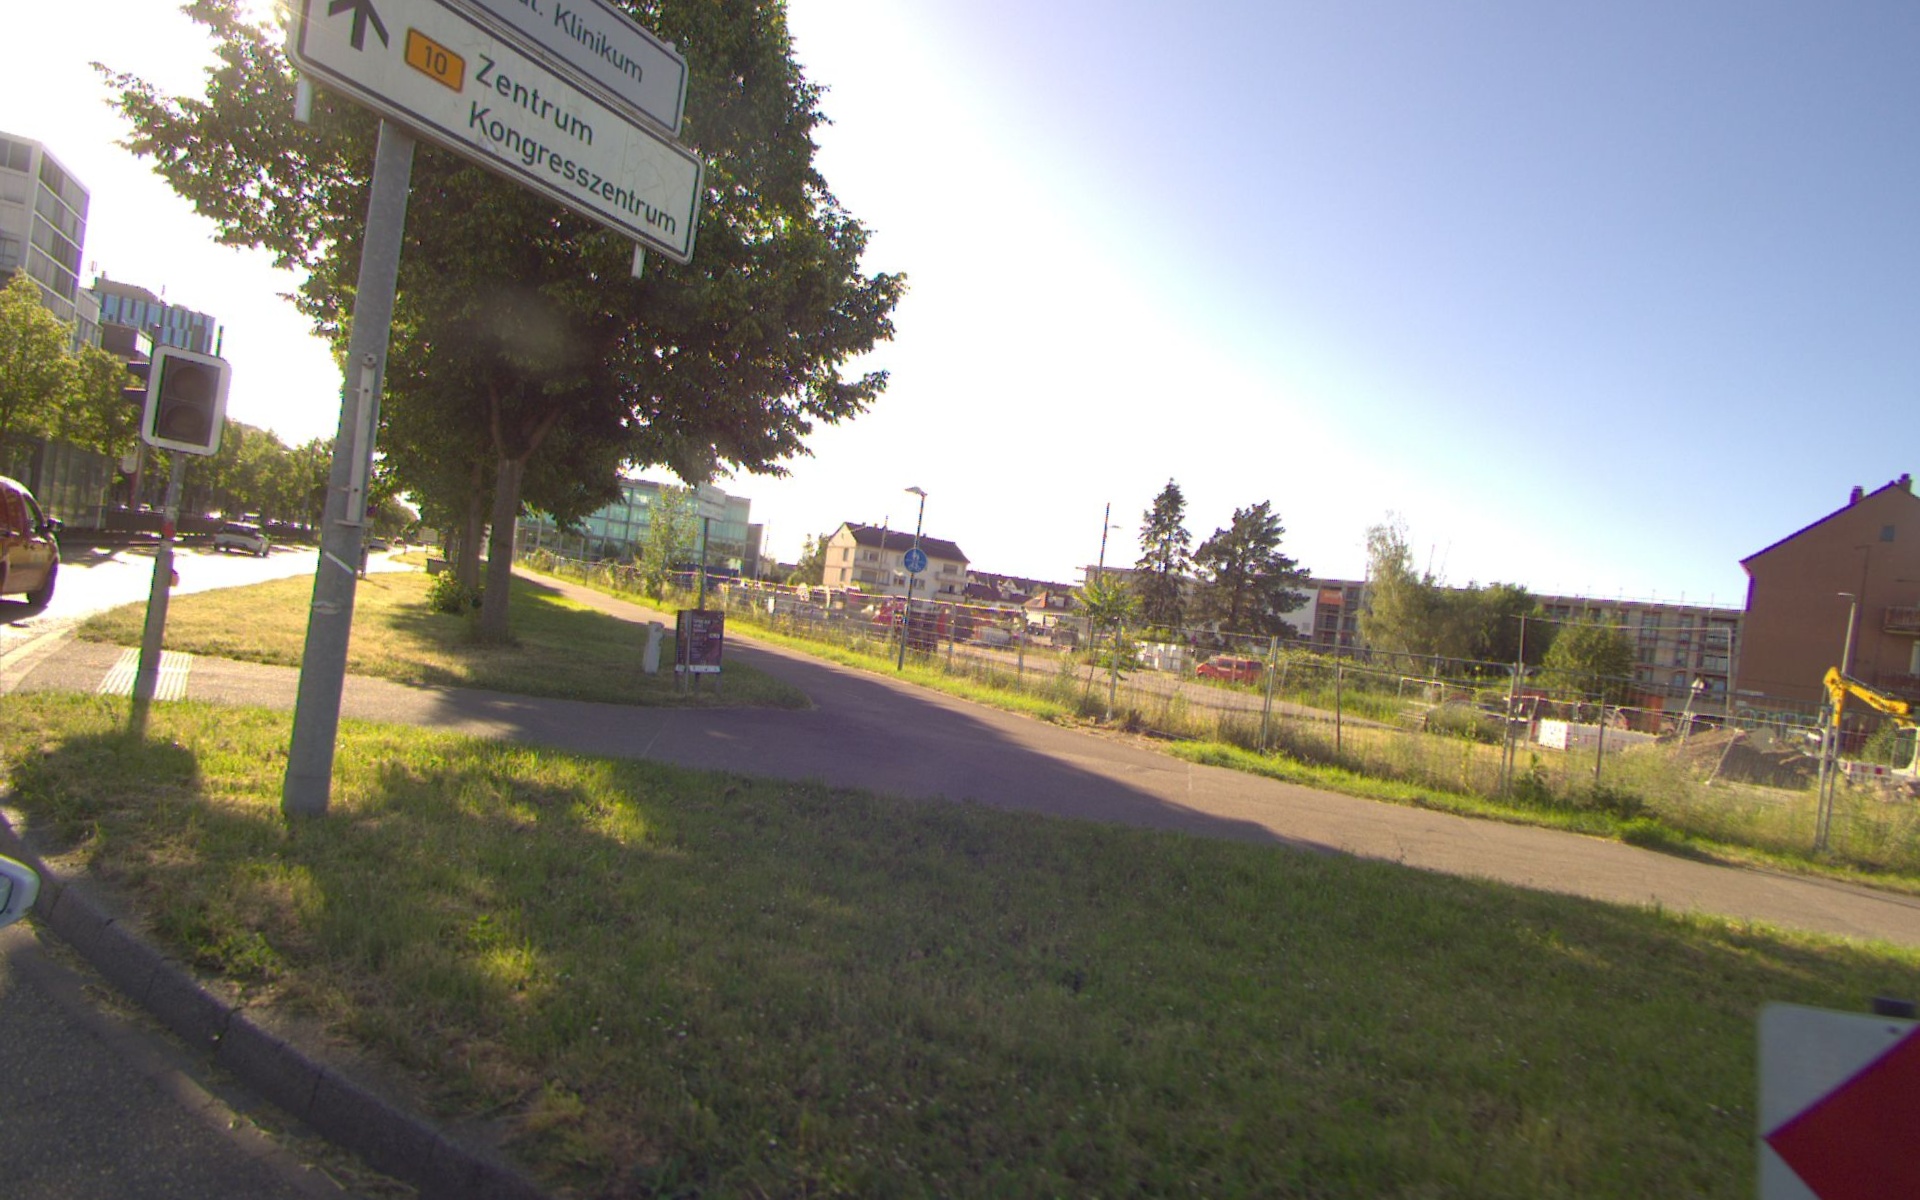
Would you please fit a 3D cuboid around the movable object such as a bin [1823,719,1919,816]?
[{"bbox_3d":[31.683,5.698,33.278,2.384,2.804,4.000,10,-1,-2],"label":"movable object such as a bin"}]

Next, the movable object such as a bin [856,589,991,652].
[{"bbox_3d":[-2.282,1.290,63.851,7.837,2.815,2.925,9,0,-25],"label":"movable object such as a bin"}]

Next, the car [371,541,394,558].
[{"bbox_3d":[-67.186,-5.857,117.039,1.978,1.594,4.376,8,0,-28],"label":"car"}]

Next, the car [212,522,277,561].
[{"bbox_3d":[-33.989,-2.774,47.879,1.789,1.478,3.783,10,-1,-27],"label":"car"}]

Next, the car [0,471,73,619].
[{"bbox_3d":[-13.300,-0.834,13.108,1.791,1.835,3.778,8,-1,-32],"label":"car"}]

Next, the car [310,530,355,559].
[{"bbox_3d":[-41.091,-3.638,65.926,1.977,1.594,4.377,8,0,-27],"label":"car"}]

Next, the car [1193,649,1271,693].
[{"bbox_3d":[17.540,4.574,65.106,1.982,2.036,4.461,10,-1,-31],"label":"car"}]

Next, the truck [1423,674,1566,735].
[{"bbox_3d":[27.758,5.376,52.548,2.146,2.036,6.397,10,-1,-24],"label":"truck"}]
